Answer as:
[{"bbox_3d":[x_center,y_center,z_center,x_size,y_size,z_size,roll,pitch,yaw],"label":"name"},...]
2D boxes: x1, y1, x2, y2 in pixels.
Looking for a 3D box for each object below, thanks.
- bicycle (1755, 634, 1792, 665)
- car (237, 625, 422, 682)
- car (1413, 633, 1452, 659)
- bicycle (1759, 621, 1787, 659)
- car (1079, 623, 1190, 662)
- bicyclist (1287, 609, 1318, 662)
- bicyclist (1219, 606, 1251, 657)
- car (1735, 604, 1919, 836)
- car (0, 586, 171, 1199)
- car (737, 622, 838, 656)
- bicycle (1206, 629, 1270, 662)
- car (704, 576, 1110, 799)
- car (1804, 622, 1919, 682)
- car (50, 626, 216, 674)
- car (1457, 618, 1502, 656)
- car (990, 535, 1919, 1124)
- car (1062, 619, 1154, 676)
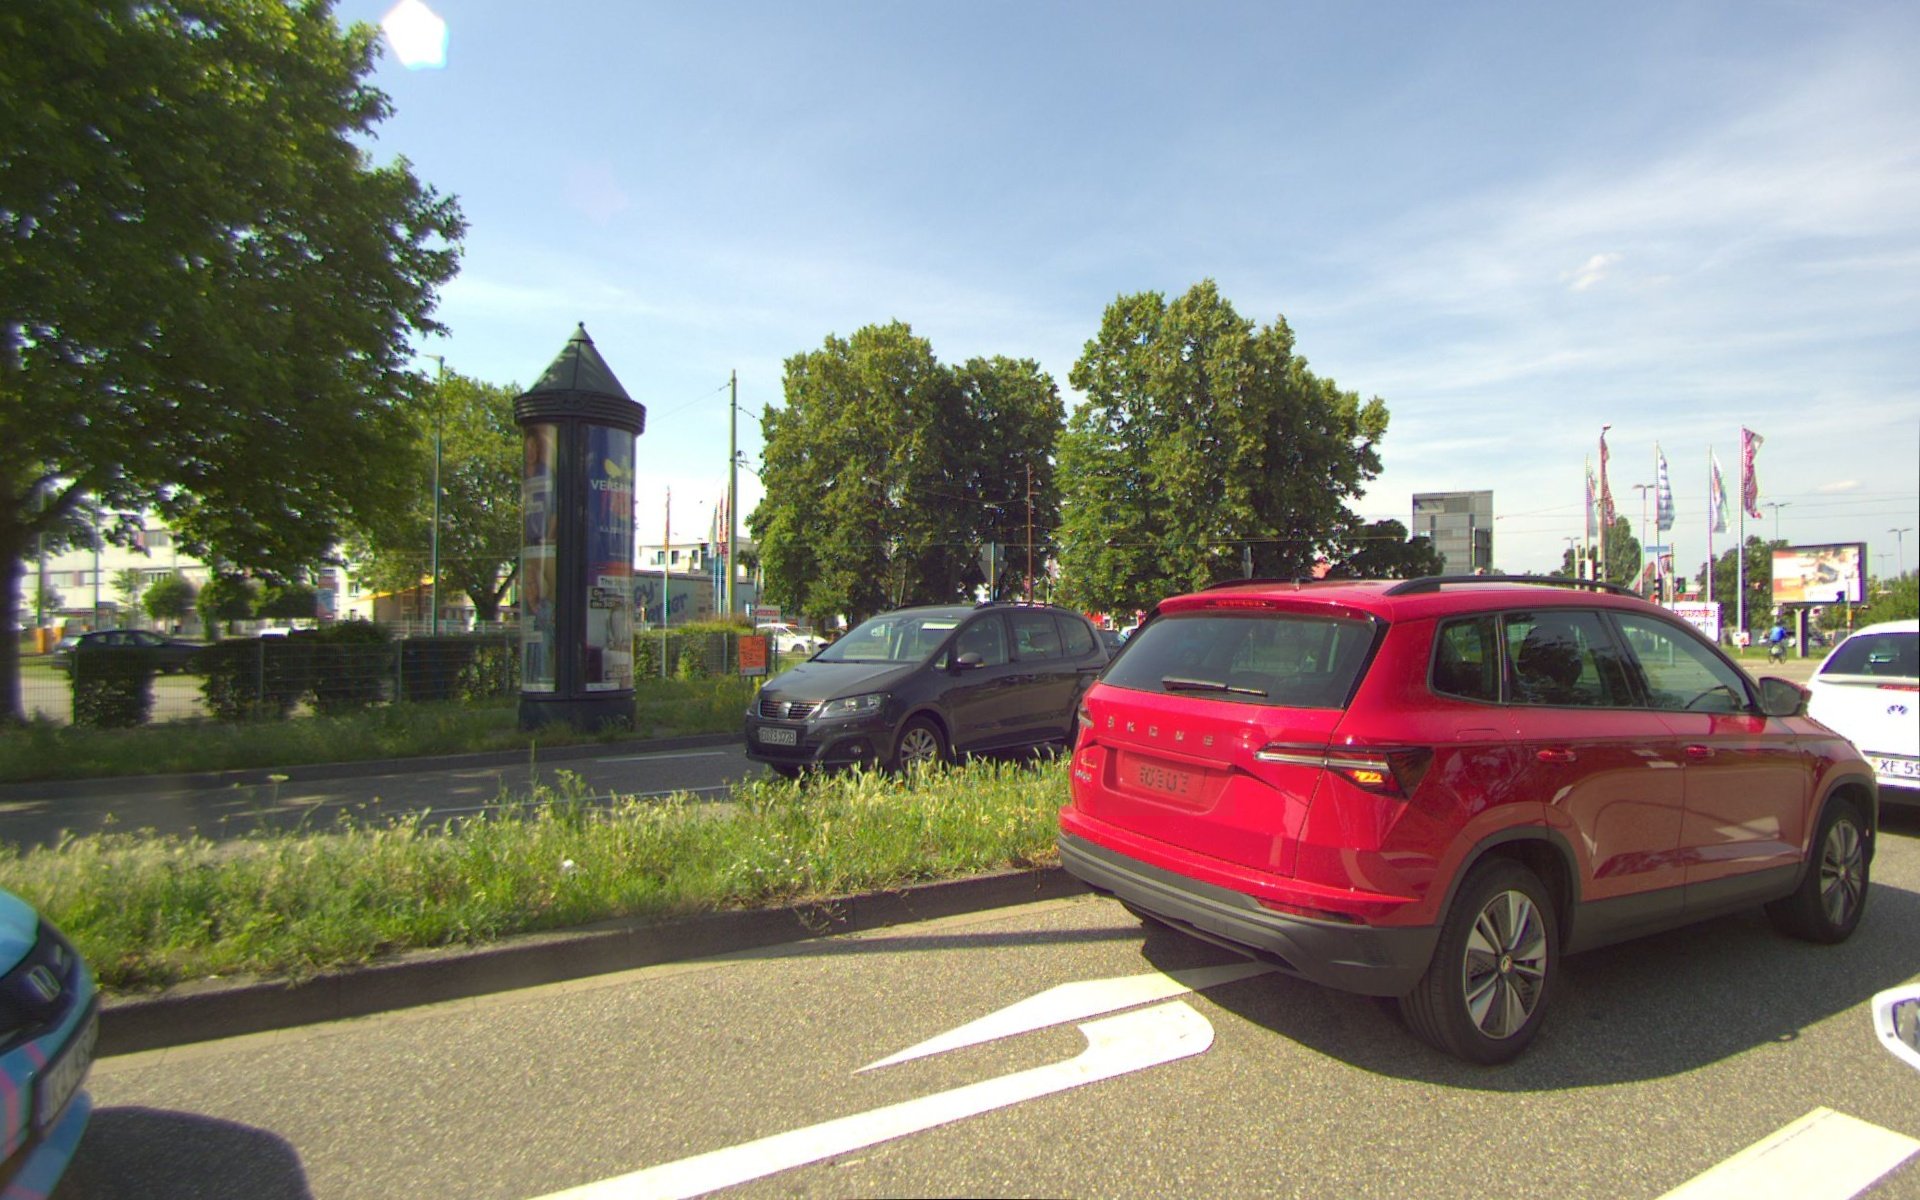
[{"bbox_3d":[34.919,2.111,43.111,2.225,1.273,0.667,1,-2,-36],"label":"bicycle"},{"bbox_3d":[-20.211,1.688,32.473,1.961,1.687,4.845,-1,-2,21],"label":"car"},{"bbox_3d":[33.390,3.230,71.084,1.960,1.706,4.001,-1,-2,18],"label":"car"},{"bbox_3d":[34.894,1.720,43.125,0.982,1.636,0.668,1,-2,-35],"label":"bicycle"},{"bbox_3d":[6.699,1.603,38.571,3.921,1.439,2.000,0,-1,20],"label":"car"},{"bbox_3d":[11.394,1.176,33.401,0.883,1.738,0.782,-1,0,24],"label":"bicyclist"},{"bbox_3d":[9.241,1.064,33.710,0.883,1.668,0.787,-1,0,24],"label":"bicyclist"},{"bbox_3d":[7.925,0.813,7.712,4.088,1.499,1.757,1,0,-31],"label":"car"},{"bbox_3d":[-3.840,0.645,1.131,4.420,1.408,1.694,1,0,-31],"label":"car"},{"bbox_3d":[-7.615,1.681,44.361,3.924,1.439,1.999,0,-1,24],"label":"car"},{"bbox_3d":[9.324,1.535,33.668,1.972,1.053,0.744,-1,0,25],"label":"bicycle"},{"bbox_3d":[-0.292,0.777,10.306,1.839,1.773,4.385,-1,-2,36],"label":"car"},{"bbox_3d":[24.384,1.357,26.658,3.952,1.489,1.768,1,-3,-30],"label":"car"},{"bbox_3d":[-30.072,1.789,36.688,1.783,1.642,4.339,-1,-2,23],"label":"car"},{"bbox_3d":[36.601,2.610,70.906,1.960,2.566,4.642,0,-2,16],"label":"car"},{"bbox_3d":[2.525,0.666,4.696,4.540,1.614,1.774,1,0,-31],"label":"car"},{"bbox_3d":[3.986,1.263,27.657,1.731,1.407,3.999,-1,-1,-3],"label":"car"}]
